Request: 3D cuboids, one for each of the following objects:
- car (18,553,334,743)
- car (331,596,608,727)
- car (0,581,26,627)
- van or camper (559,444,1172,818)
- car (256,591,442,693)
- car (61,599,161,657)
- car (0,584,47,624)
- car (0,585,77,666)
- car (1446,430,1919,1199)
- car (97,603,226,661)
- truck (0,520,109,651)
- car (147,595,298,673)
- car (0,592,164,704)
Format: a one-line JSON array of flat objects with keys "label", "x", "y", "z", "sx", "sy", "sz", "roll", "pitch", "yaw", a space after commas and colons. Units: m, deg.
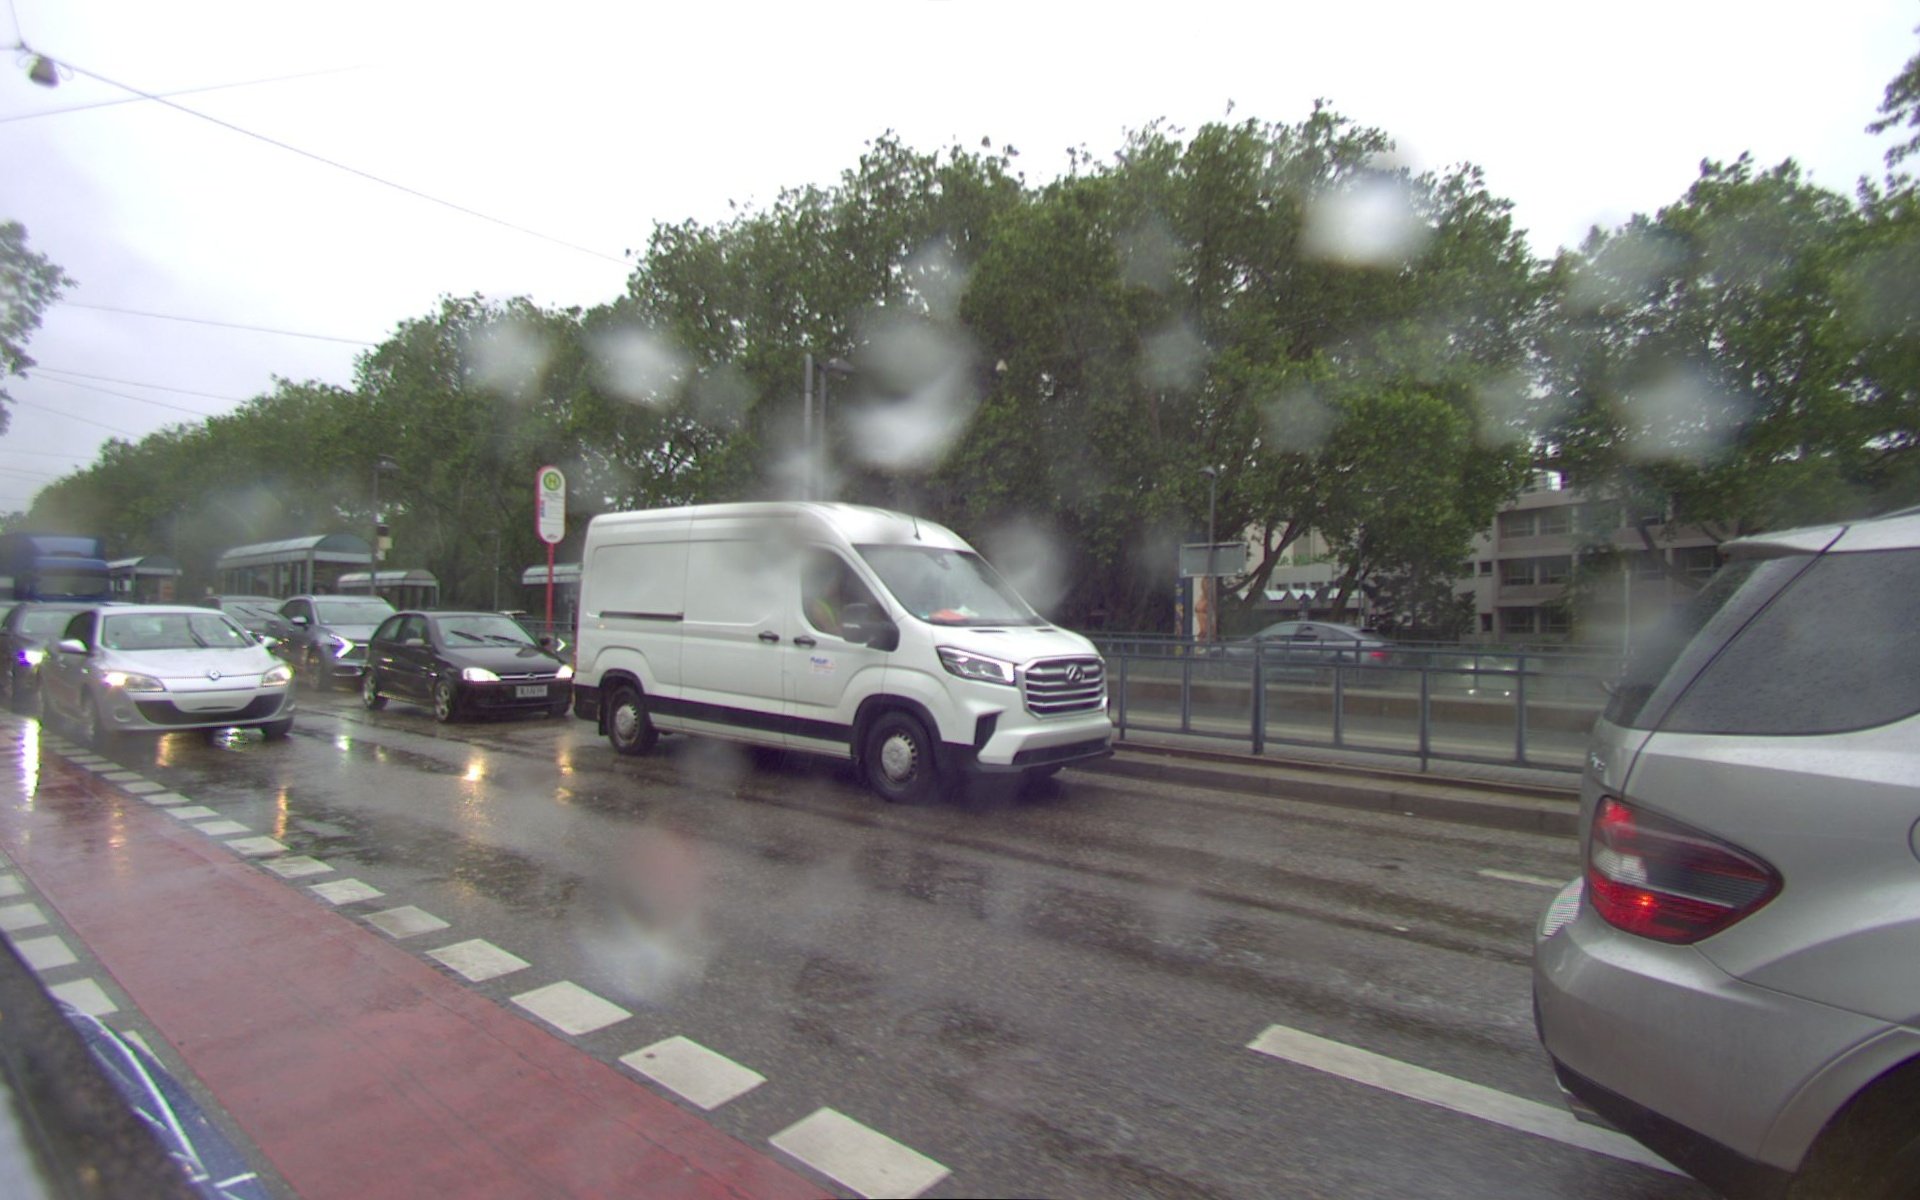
[{"label": "car", "x": -8.995, "y": 0.492, "z": 11.489, "sx": 4.263, "sy": 1.755, "sz": 1.951, "roll": -1, "pitch": -1, "yaw": 39}, {"label": "car", "x": -6.891, "y": 0.768, "z": 13.995, "sx": 4.553, "sy": 1.524, "sz": 1.763, "roll": -1, "pitch": -1, "yaw": 40}, {"label": "car", "x": -48.138, "y": 0.172, "z": 50.104, "sx": 5.453, "sy": 2.166, "sz": 2.313, "roll": 1, "pitch": 1, "yaw": 43}, {"label": "van or camper", "x": -1.212, "y": 0.263, "z": 9.486, "sx": 5.965, "sy": 2.490, "sz": 2.153, "roll": -1, "pitch": -2, "yaw": 40}, {"label": "car", "x": -11.175, "y": 0.718, "z": 18.392, "sx": 4.247, "sy": 1.647, "sz": 1.823, "roll": -2, "pitch": -1, "yaw": 43}, {"label": "car", "x": -26.051, "y": 0.843, "z": 31.011, "sx": 4.191, "sy": 1.659, "sz": 1.887, "roll": -2, "pitch": -1, "yaw": 44}, {"label": "car", "x": -42.392, "y": 0.143, "z": 45.146, "sx": 3.998, "sy": 1.728, "sz": 1.973, "roll": 1, "pitch": 1, "yaw": 41}, {"label": "car", "x": -21.111, "y": 0.569, "z": 22.424, "sx": 4.190, "sy": 1.659, "sz": 1.887, "roll": -2, "pitch": -1, "yaw": 43}, {"label": "car", "x": 3.422, "y": 0.524, "z": 1.347, "sx": 4.677, "sy": 1.659, "sz": 1.888, "roll": -1, "pitch": -1, "yaw": 41}, {"label": "car", "x": -21.427, "y": 0.836, "z": 27.108, "sx": 4.187, "sy": 1.418, "sz": 1.889, "roll": -1, "pitch": -1, "yaw": 40}, {"label": "truck", "x": -33.449, "y": -0.379, "z": 36.913, "sx": 8.348, "sy": 4.309, "sz": 2.386, "roll": -1, "pitch": -1, "yaw": 41}, {"label": "car", "x": -17.213, "y": 0.775, "z": 23.569, "sx": 4.187, "sy": 1.659, "sz": 1.889, "roll": -1, "pitch": -1, "yaw": 40}, {"label": "car", "x": -14.475, "y": 0.713, "z": 16.311, "sx": 4.666, "sy": 1.561, "sz": 1.887, "roll": -2, "pitch": -1, "yaw": 43}]
